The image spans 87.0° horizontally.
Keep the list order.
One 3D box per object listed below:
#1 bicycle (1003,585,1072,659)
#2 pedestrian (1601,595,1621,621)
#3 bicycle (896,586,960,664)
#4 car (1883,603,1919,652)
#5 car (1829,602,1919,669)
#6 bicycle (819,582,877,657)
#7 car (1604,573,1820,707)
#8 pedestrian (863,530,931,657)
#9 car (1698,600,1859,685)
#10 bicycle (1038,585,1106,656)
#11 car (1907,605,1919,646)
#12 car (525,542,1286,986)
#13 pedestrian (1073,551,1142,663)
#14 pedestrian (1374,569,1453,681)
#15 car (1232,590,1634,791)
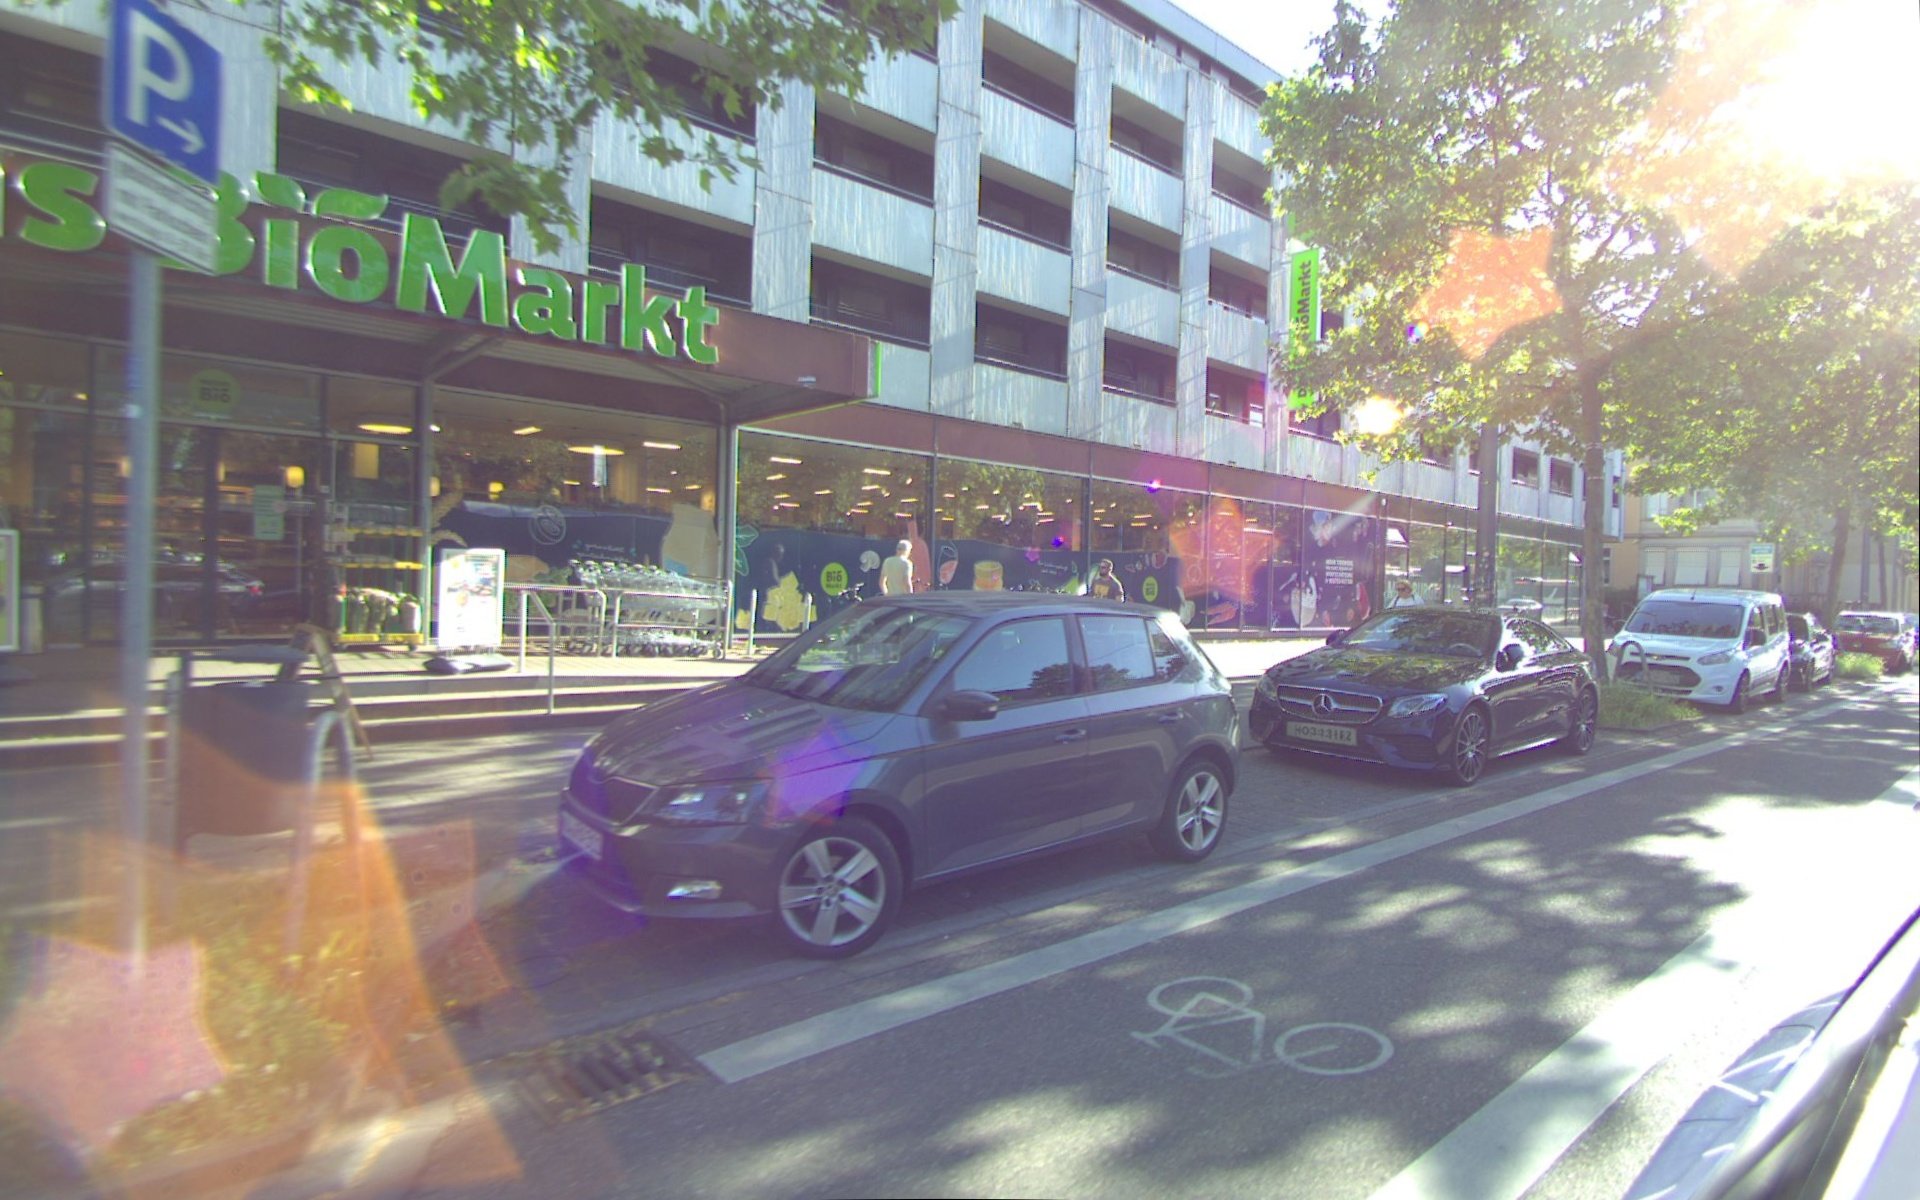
[{"bbox_3d":[1.268,0.346,16.888,0.573,1.068,1.709,4,2,-13],"label":"bicycle"},{"bbox_3d":[29.391,0.368,45.702,0.672,1.123,0.560,1,2,-40],"label":"pedestrian"},{"bbox_3d":[-0.530,0.361,15.948,0.573,1.068,1.709,5,1,-14],"label":"bicycle"},{"bbox_3d":[30.998,0.880,32.396,3.861,1.459,1.629,0,3,-41],"label":"car"},{"bbox_3d":[23.773,0.845,25.984,3.626,1.455,1.676,0,4,-42],"label":"car"},{"bbox_3d":[-1.677,0.259,14.908,0.573,0.927,1.656,5,2,-14],"label":"bicycle"},{"bbox_3d":[12.033,0.558,16.097,4.315,1.814,1.768,1,2,-40],"label":"car"},{"bbox_3d":[-0.893,-0.096,14.294,0.603,1.737,0.612,2,2,-43],"label":"pedestrian"},{"bbox_3d":[16.234,0.766,19.998,4.220,1.420,1.732,1,3,-41],"label":"car"},{"bbox_3d":[1.922,0.335,17.658,0.573,1.068,1.709,3,3,-13],"label":"bicycle"},{"bbox_3d":[35.180,0.925,35.971,4.201,1.399,1.780,0,1,-41],"label":"car"},{"bbox_3d":[-0.046,0.565,5.444,3.929,1.570,1.568,0,1,-40],"label":"car"},{"bbox_3d":[2.340,0.097,16.040,0.867,1.698,0.559,1,3,-41],"label":"pedestrian"},{"bbox_3d":[6.945,0.366,15.494,0.852,1.632,0.700,1,3,-39],"label":"pedestrian"},{"bbox_3d":[4.718,0.681,9.737,4.618,1.435,1.765,0,2,-41],"label":"car"}]
